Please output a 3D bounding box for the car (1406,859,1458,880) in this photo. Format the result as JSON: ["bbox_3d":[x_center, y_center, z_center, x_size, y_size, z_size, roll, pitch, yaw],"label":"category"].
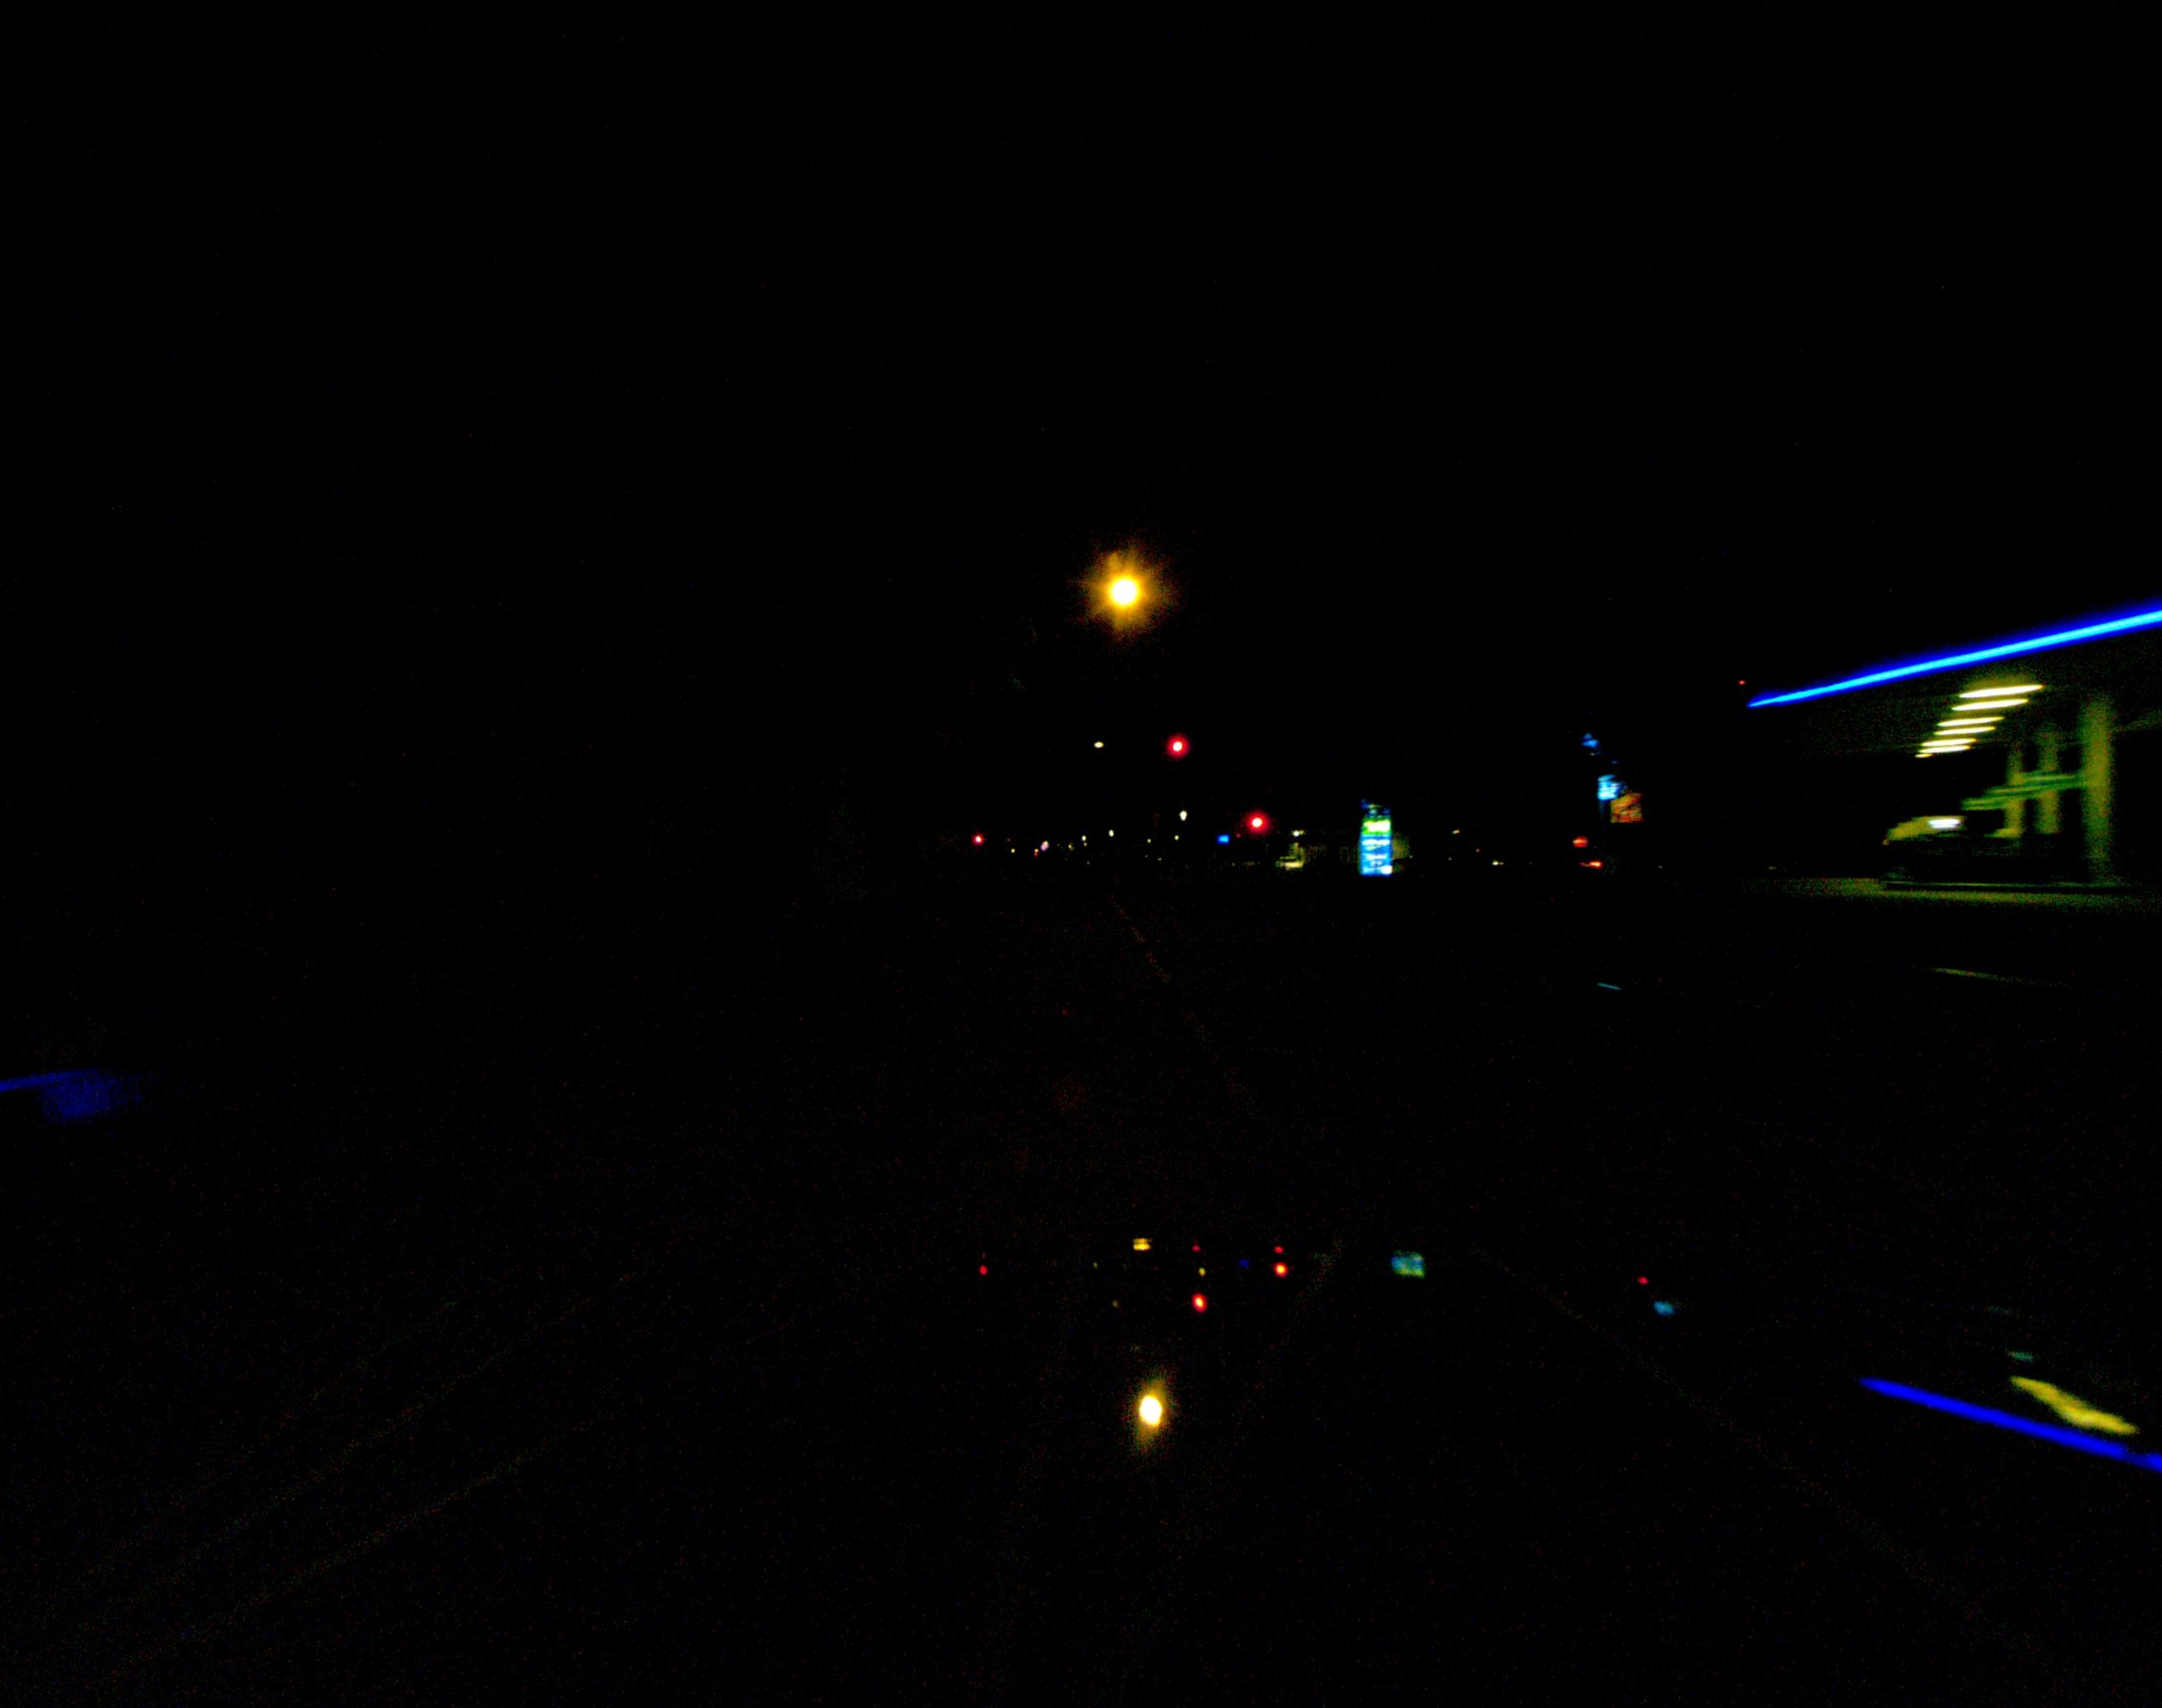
[{"bbox_3d":[26.167,1.122,56.844,1.864,1.469,4.353,-1,0,0],"label":"car"}]

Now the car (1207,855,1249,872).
[{"bbox_3d":[13.811,0.903,71.465,3.576,1.577,1.634,0,1,-1],"label":"car"}]

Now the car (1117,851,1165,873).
[{"bbox_3d":[5.397,0.705,68.634,4.055,1.879,1.634,0,1,-3],"label":"car"}]

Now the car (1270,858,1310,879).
[{"bbox_3d":[15.559,1.063,56.784,1.864,1.452,4.070,-1,0,0],"label":"car"}]

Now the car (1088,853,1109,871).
[{"bbox_3d":[1.689,0.759,75.361,1.936,1.646,3.833,0,1,0],"label":"car"}]

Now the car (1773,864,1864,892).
[{"bbox_3d":[41.679,1.321,42.976,3.569,1.403,1.682,-2,1,-1],"label":"car"}]

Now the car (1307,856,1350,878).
[{"bbox_3d":[18.620,0.961,57.258,1.864,1.544,4.069,-1,0,0],"label":"car"}]

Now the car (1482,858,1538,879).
[{"bbox_3d":[31.890,1.048,56.574,1.864,1.469,4.086,-1,0,0],"label":"car"}]

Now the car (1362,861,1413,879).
[{"bbox_3d":[26.517,1.359,65.714,4.281,1.469,1.730,-1,1,-27],"label":"car"}]

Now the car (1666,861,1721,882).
[{"bbox_3d":[47.665,1.378,59.204,1.609,1.492,3.413,-1,0,1],"label":"car"}]

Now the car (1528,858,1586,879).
[{"bbox_3d":[35.219,1.034,56.332,1.781,1.469,4.027,-1,0,0],"label":"car"}]

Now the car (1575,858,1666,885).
[{"bbox_3d":[32.836,1.028,46.292,4.312,1.550,1.686,-1,0,0],"label":"car"}]

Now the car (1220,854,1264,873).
[{"bbox_3d":[14.495,0.856,68.402,3.575,1.689,1.634,0,1,0],"label":"car"}]

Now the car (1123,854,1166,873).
[{"bbox_3d":[5.508,0.806,66.282,3.576,1.619,1.620,0,1,-3],"label":"car"}]

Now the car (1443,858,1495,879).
[{"bbox_3d":[28.905,1.059,56.704,1.732,1.469,4.086,-1,0,0],"label":"car"}]

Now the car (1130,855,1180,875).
[{"bbox_3d":[5.936,0.894,61.305,3.763,1.577,1.634,0,1,-3],"label":"car"}]

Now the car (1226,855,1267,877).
[{"bbox_3d":[12.368,0.854,56.999,1.999,1.548,4.386,-1,0,-1],"label":"car"}]

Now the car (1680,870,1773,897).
[{"bbox_3d":[36.266,1.646,42.744,3.851,1.403,1.736,-1,1,-1],"label":"car"}]

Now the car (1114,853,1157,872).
[{"bbox_3d":[5.081,0.777,71.011,3.848,1.781,1.634,0,1,-3],"label":"car"}]
